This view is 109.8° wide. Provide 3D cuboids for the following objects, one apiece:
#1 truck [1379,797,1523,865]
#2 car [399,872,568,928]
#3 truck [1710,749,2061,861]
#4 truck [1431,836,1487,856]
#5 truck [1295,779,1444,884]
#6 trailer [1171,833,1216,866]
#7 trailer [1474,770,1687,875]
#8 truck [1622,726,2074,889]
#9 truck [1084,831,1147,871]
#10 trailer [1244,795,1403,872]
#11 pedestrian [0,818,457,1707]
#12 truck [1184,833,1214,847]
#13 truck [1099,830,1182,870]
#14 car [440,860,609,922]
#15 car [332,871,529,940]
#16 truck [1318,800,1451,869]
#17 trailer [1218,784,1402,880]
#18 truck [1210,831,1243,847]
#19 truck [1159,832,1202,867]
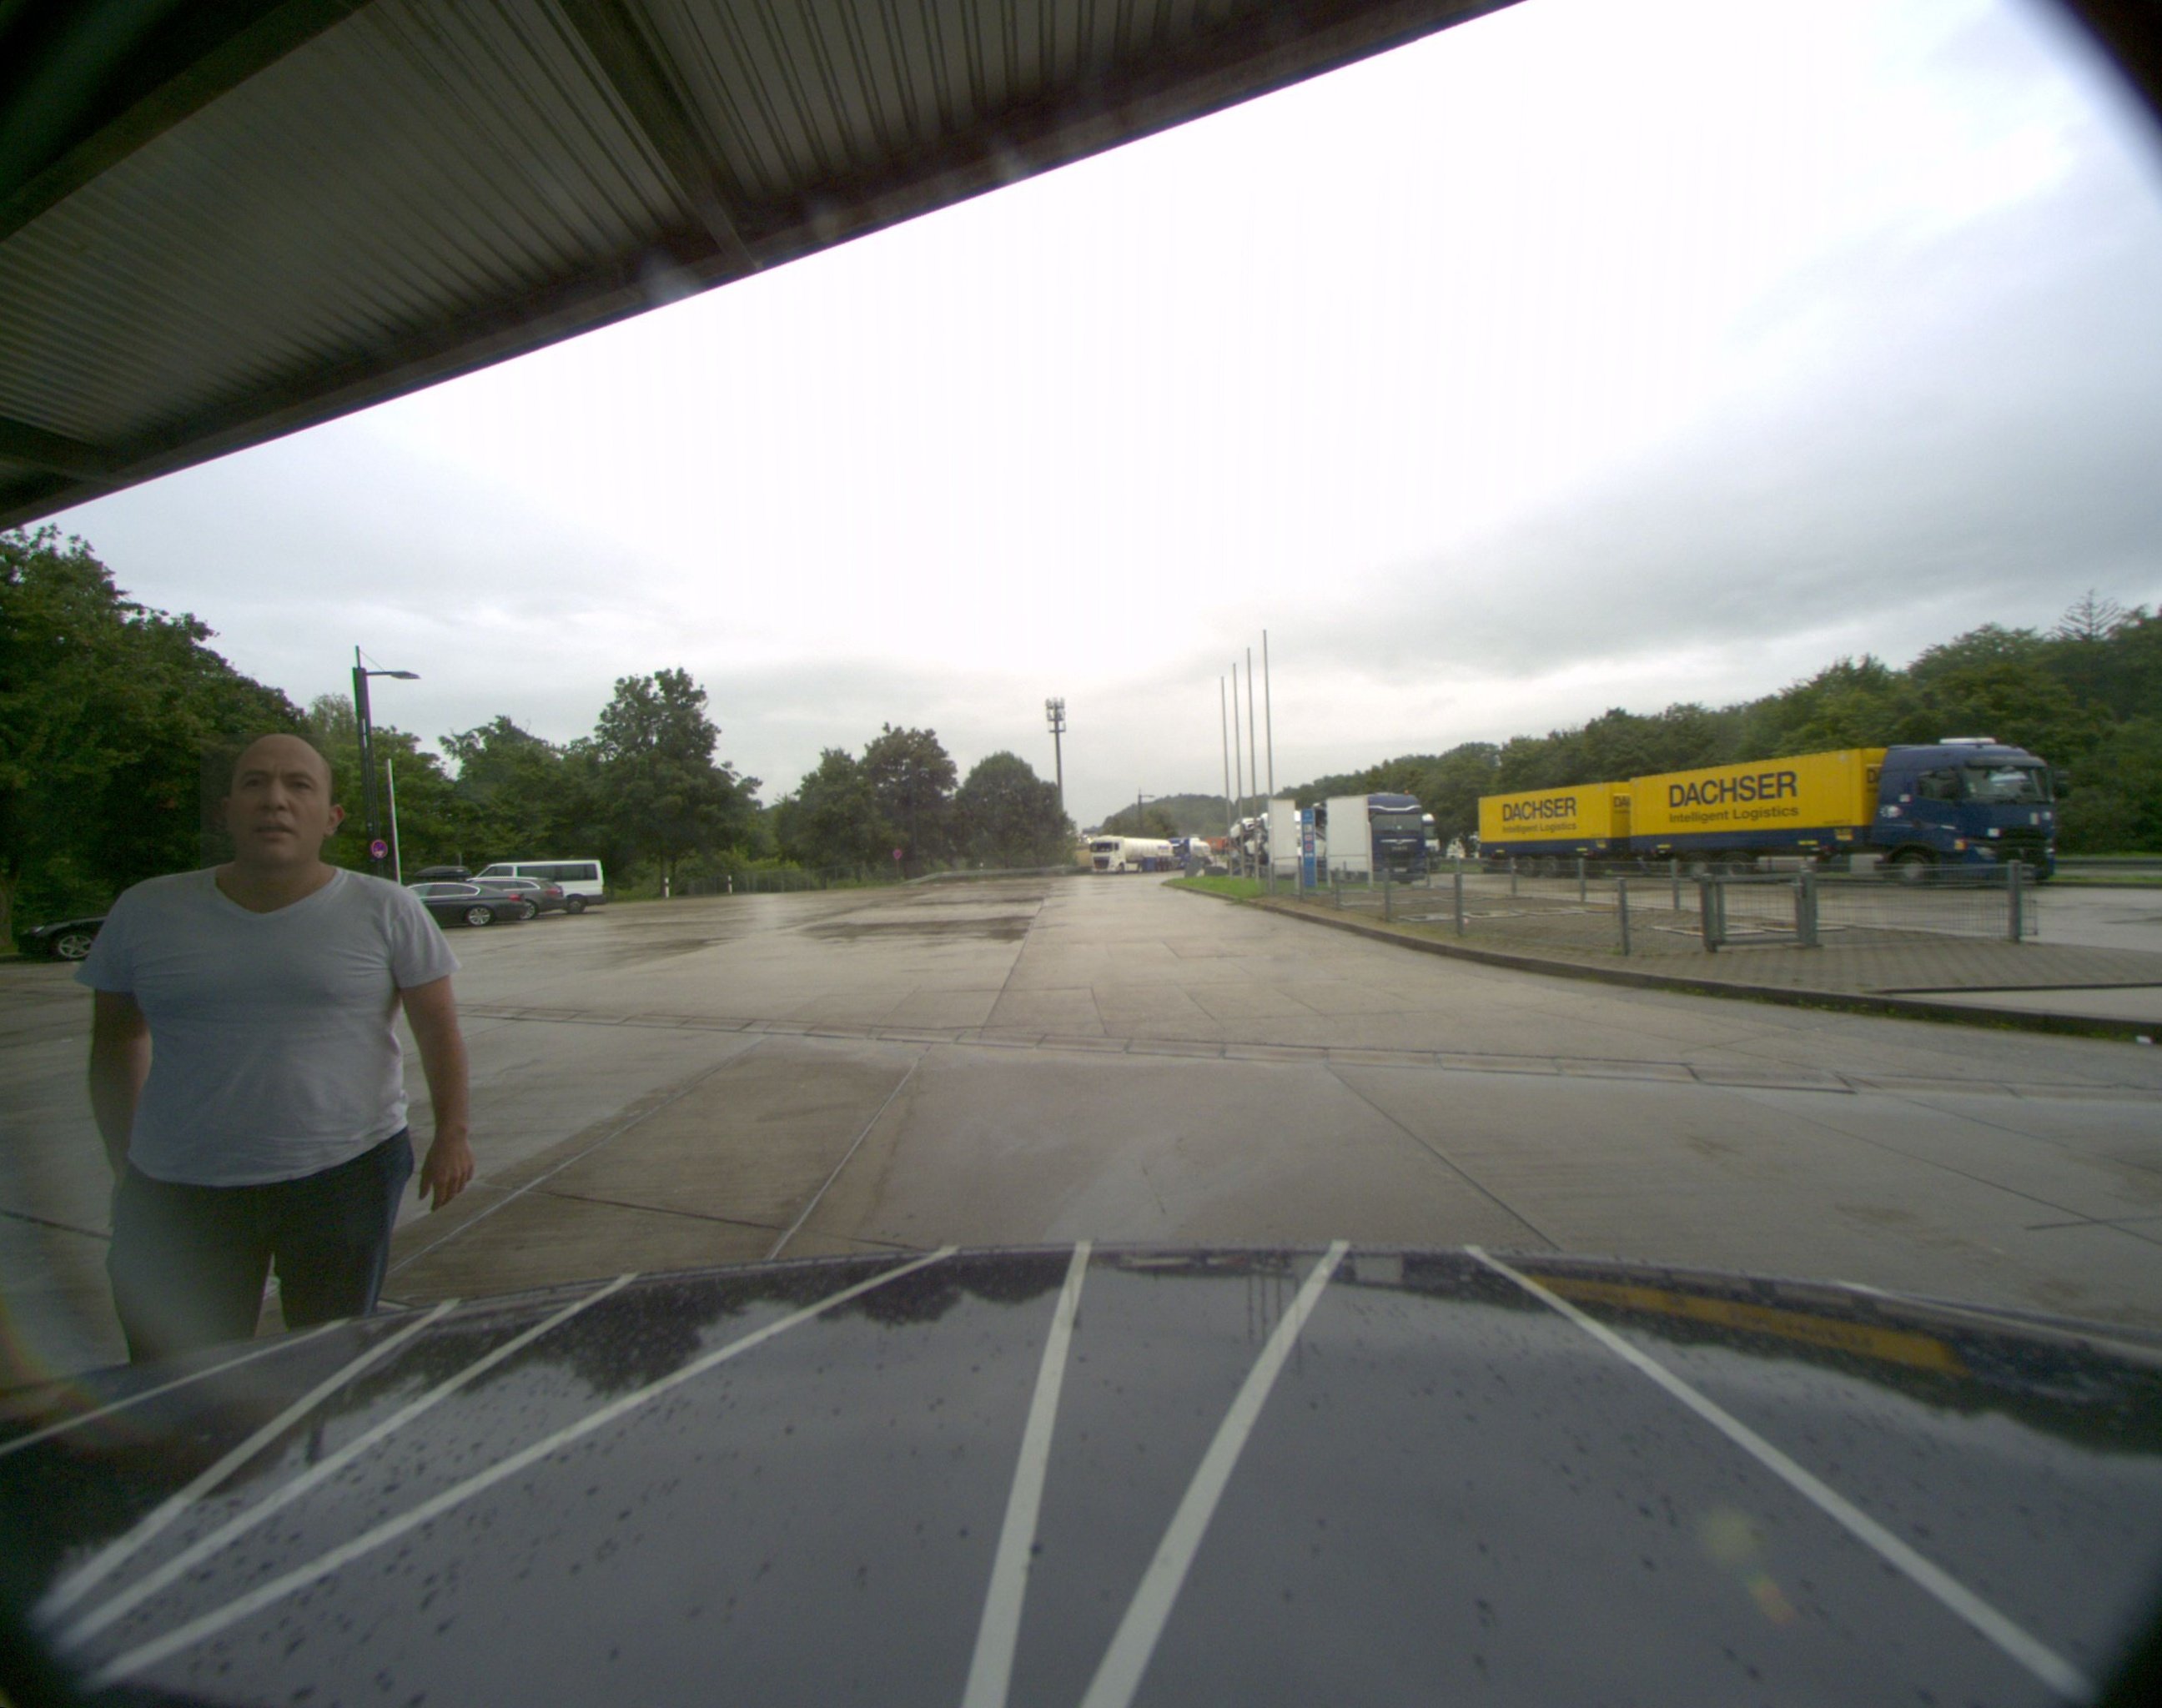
[{"bbox_3d":[24.350,-1.403,50.965,2.991,4.009,10.464,-2,1,-10],"label":"truck"},{"bbox_3d":[-19.662,1.455,25.286,4.187,1.547,1.995,-2,0,-33],"label":"car"},{"bbox_3d":[33.765,-1.822,32.943,2.991,4.009,10.464,-2,1,-10],"label":"truck"},{"bbox_3d":[45.828,-0.901,92.415,3.135,2.290,6.172,-2,0,-7],"label":"truck"},{"bbox_3d":[12.294,-0.923,33.255,2.990,4.009,7.259,-2,1,-7],"label":"truck"},{"bbox_3d":[13.652,-0.648,91.449,2.898,3.618,10.586,-2,1,22],"label":"trailer"},{"bbox_3d":[21.774,-1.275,34.001,2.774,4.009,8.853,-2,1,-8],"label":"trailer"},{"bbox_3d":[23.053,-1.215,24.318,2.774,4.009,10.632,-2,1,-8],"label":"truck"},{"bbox_3d":[3.303,-0.353,71.445,3.243,3.544,6.114,-2,1,31],"label":"truck"},{"bbox_3d":[14.512,-1.148,47.561,2.992,4.009,13.793,-2,1,-12],"label":"trailer"},{"bbox_3d":[-1.790,0.841,1.568,0.635,1.800,0.493,-4,3,-34],"label":"pedestrian"},{"bbox_3d":[30.832,-3.597,199.161,3.251,3.543,16.548,-2,1,-7],"label":"truck"},{"bbox_3d":[6.185,-0.519,76.356,3.243,3.544,11.995,-2,1,31],"label":"truck"},{"bbox_3d":[-20.274,1.284,27.915,4.780,1.974,2.010,-2,0,-36],"label":"car"},{"bbox_3d":[-19.130,1.452,22.645,4.187,1.720,1.995,-2,0,-33],"label":"car"},{"bbox_3d":[19.747,-1.219,50.441,2.991,4.009,10.464,-2,1,-10],"label":"truck"},{"bbox_3d":[11.364,-0.999,40.947,2.990,4.009,16.597,-2,1,-7],"label":"trailer"},{"bbox_3d":[33.557,-3.430,176.510,3.251,3.544,14.655,-1,1,-7],"label":"truck"},{"bbox_3d":[11.312,-0.521,85.742,3.045,3.745,6.475,-2,1,23],"label":"truck"}]
